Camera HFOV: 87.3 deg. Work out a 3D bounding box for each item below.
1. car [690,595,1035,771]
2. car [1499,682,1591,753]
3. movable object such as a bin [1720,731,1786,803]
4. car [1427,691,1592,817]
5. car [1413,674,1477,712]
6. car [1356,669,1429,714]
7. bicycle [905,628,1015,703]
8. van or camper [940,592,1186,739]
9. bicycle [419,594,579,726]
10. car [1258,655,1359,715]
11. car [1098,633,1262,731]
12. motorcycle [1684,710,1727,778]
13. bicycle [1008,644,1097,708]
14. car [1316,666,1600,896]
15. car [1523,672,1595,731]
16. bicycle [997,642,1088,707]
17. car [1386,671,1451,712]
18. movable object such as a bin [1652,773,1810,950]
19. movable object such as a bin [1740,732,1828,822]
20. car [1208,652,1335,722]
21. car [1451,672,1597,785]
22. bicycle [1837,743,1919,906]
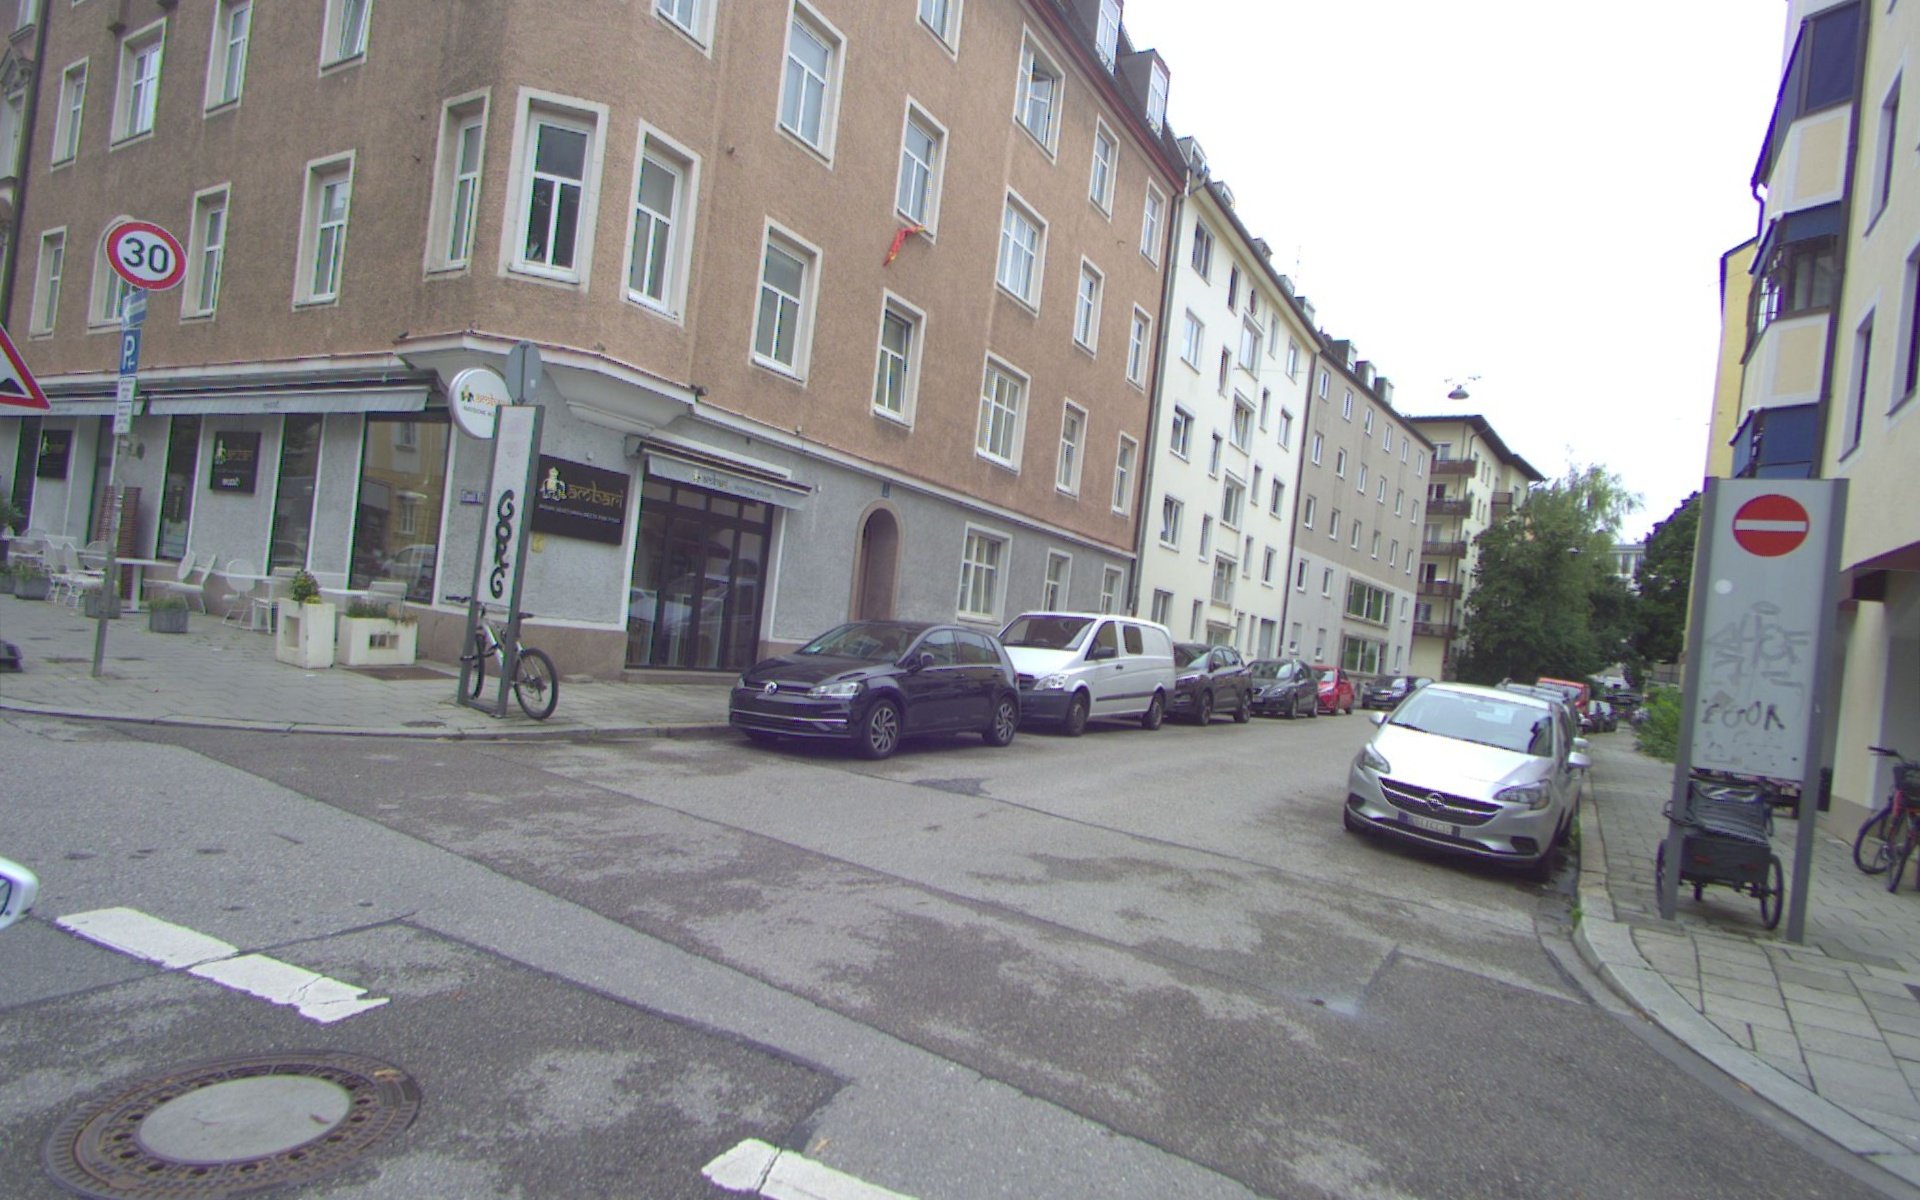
[{"bbox_3d":[-0.919,0.930,11.533,1.861,1.505,3.878,6,-2,32],"label":"car"},{"bbox_3d":[16.550,3.285,28.416,1.946,1.586,4.424,6,-2,32],"label":"car"},{"bbox_3d":[13.351,2.789,16.962,0.673,1.026,1.124,6,-1,32],"label":"movable object such as a bin"},{"bbox_3d":[7.867,2.066,14.260,1.613,1.353,3.446,6,-1,35],"label":"car"},{"bbox_3d":[24.657,4.727,51.076,1.949,1.586,4.418,6,-2,37],"label":"car"},{"bbox_3d":[18.472,3.878,42.890,1.947,1.587,4.658,6,-1,34],"label":"car"},{"bbox_3d":[0.000,1.219,18.896,1.892,1.158,0.475,6,0,15],"label":"bicycle"},{"bbox_3d":[1.893,1.109,16.557,1.930,1.941,4.906,4,-3,32],"label":"van or camper"},{"bbox_3d":[-4.521,0.555,9.804,1.774,1.018,0.495,8,2,34],"label":"bicycle"},{"bbox_3d":[11.300,2.733,32.417,1.946,1.587,4.660,6,-1,32],"label":"car"},{"bbox_3d":[4.710,1.707,21.137,1.946,1.664,3.988,6,-1,33],"label":"car"},{"bbox_3d":[16.559,3.168,22.368,0.548,1.356,1.881,6,-1,34],"label":"motorcycle"},{"bbox_3d":[2.017,1.637,21.889,1.766,1.158,0.418,6,0,15],"label":"bicycle"},{"bbox_3d":[4.902,1.553,9.615,1.724,1.458,3.736,9,1,35],"label":"car"},{"bbox_3d":[23.951,4.063,40.150,2.033,2.002,4.420,6,-2,35],"label":"car"},{"bbox_3d":[1.760,1.582,21.463,1.766,1.158,0.418,6,0,15],"label":"bicycle"},{"bbox_3d":[21.463,4.270,47.001,1.947,1.587,4.420,6,-1,34],"label":"car"},{"bbox_3d":[5.241,1.736,6.907,0.673,0.911,1.124,6,-1,32],"label":"movable object such as a bin"},{"bbox_3d":[11.928,2.544,14.606,0.755,1.094,1.124,6,-1,32],"label":"movable object such as a bin"},{"bbox_3d":[8.594,2.427,27.457,1.947,1.520,4.661,6,-2,34],"label":"car"},{"bbox_3d":[10.481,2.294,18.533,1.953,1.603,4.020,6,-2,33],"label":"car"},{"bbox_3d":[8.297,1.936,8.818,0.507,1.201,1.903,7,-1,32],"label":"bicycle"}]
